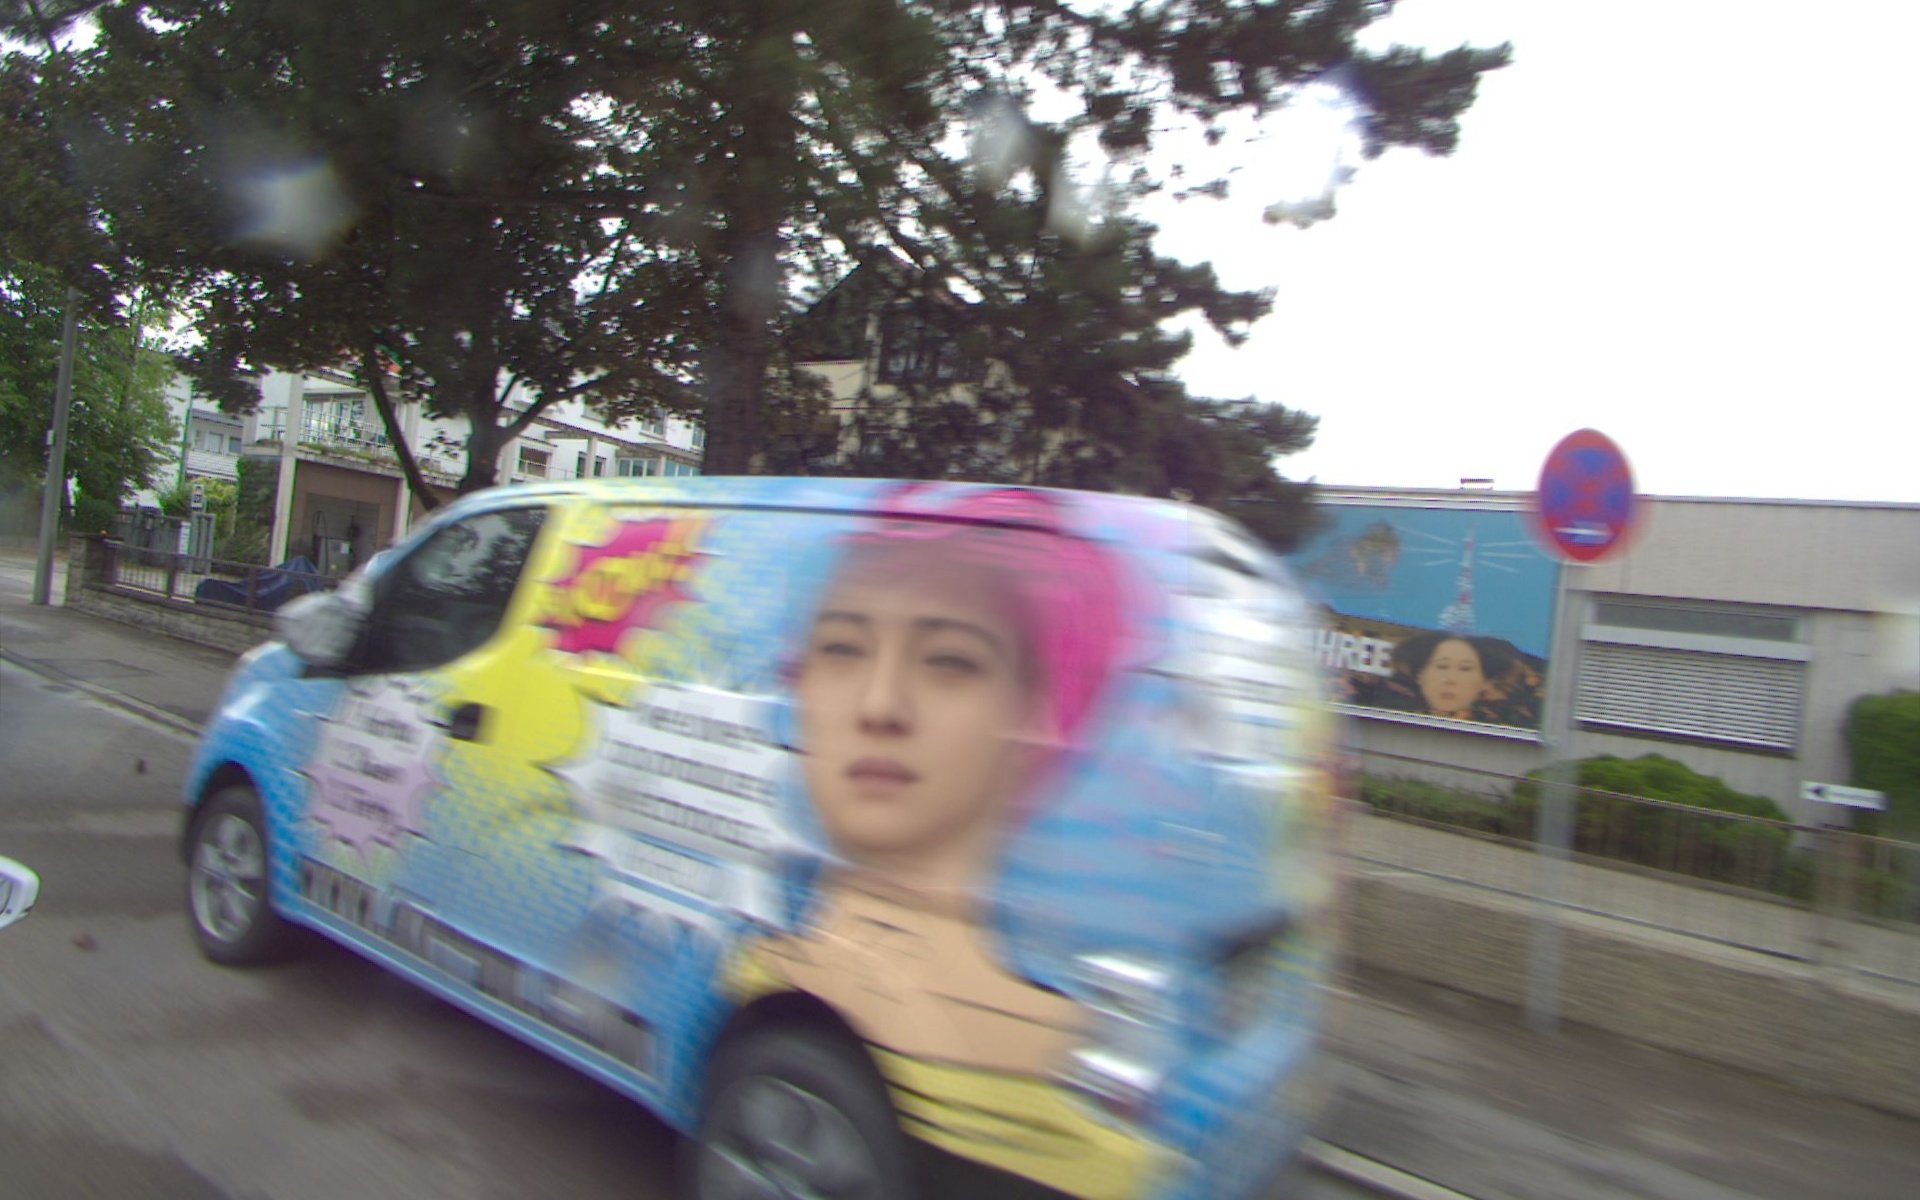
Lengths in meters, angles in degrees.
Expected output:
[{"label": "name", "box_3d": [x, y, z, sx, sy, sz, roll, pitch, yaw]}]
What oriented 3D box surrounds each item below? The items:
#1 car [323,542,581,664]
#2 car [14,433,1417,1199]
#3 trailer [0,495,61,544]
[{"label": "car", "box_3d": [-8.621, 0.034, 17.031, 4.046, 1.506, 1.748, 7, -1, 27]}, {"label": "car", "box_3d": [-1.453, 0.520, 3.826, 5.463, 1.848, 1.735, 7, -3, 33]}, {"label": "trailer", "box_3d": [-36.114, -3.177, 37.976, 4.723, 1.538, 1.772, 7, -1, 30]}]
